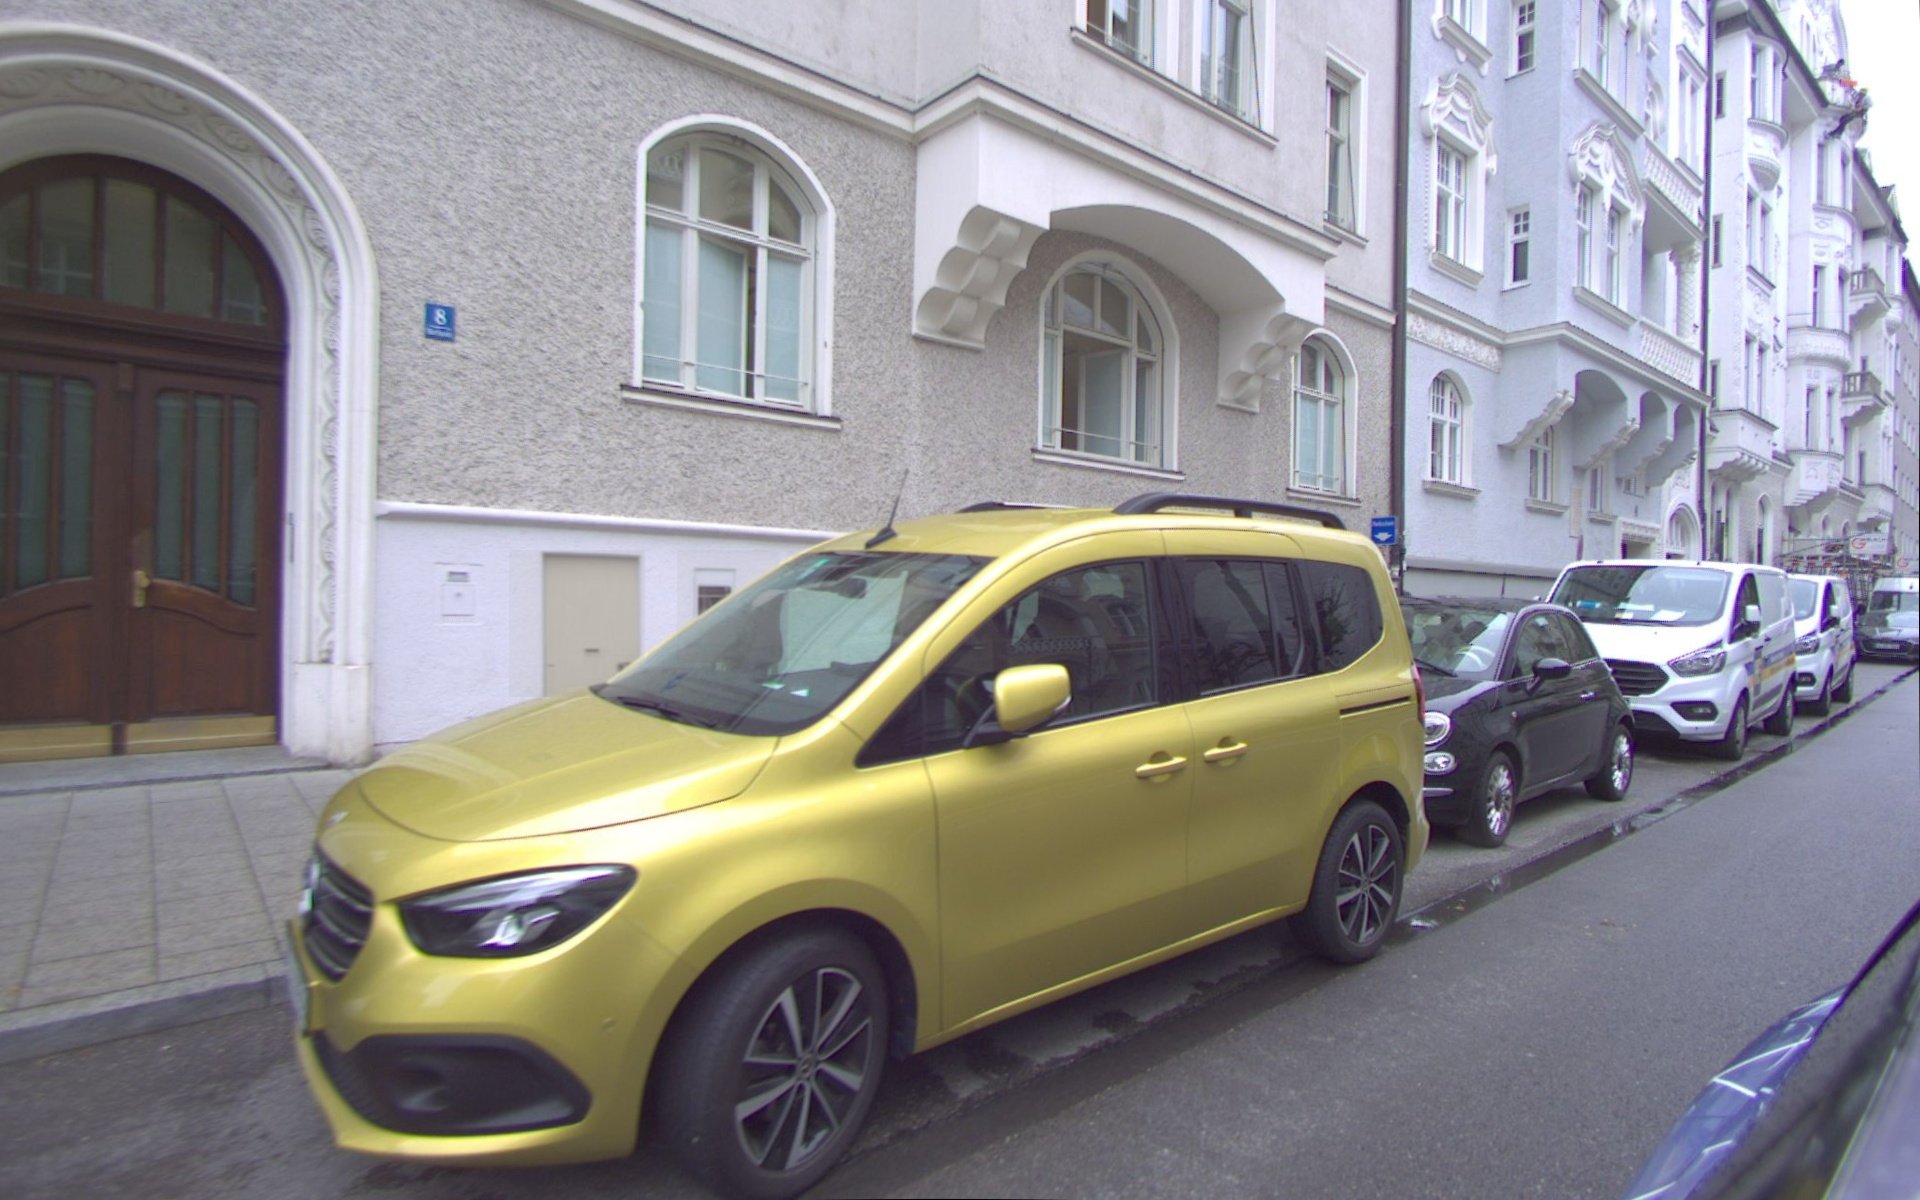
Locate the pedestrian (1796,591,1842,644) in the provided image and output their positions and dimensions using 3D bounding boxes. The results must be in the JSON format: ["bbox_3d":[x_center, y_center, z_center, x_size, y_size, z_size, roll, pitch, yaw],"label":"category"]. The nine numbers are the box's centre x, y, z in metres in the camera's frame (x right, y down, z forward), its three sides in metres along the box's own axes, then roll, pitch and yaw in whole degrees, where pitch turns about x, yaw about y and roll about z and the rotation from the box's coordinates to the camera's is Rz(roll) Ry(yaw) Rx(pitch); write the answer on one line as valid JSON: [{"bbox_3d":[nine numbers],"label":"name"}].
[{"bbox_3d":[27.068,0.529,31.878,0.999,1.573,0.922,-2,4,-42],"label":"pedestrian"}]

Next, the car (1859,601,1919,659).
[{"bbox_3d":[26.087,0.791,27.758,4.018,1.452,1.756,0,1,-43],"label":"car"}]

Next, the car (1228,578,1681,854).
[{"bbox_3d":[3.752,0.630,7.419,3.717,1.503,1.635,0,1,-41],"label":"car"}]

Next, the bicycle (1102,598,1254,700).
[{"bbox_3d":[2.658,0.551,12.199,2.001,1.107,0.696,1,3,-41],"label":"bicycle"}]

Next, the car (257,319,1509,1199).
[{"bbox_3d":[0.168,0.436,4.014,4.733,1.876,1.855,1,1,-39],"label":"car"}]

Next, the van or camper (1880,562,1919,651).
[{"bbox_3d":[30.559,0.194,31.748,5.364,2.670,1.957,0,1,-42],"label":"van or camper"}]

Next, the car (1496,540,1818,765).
[{"bbox_3d":[7.886,0.438,11.220,4.909,1.961,1.961,0,1,-44],"label":"car"}]

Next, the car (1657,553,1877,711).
[{"bbox_3d":[12.433,0.388,15.452,4.909,2.039,1.961,0,1,-44],"label":"car"}]
